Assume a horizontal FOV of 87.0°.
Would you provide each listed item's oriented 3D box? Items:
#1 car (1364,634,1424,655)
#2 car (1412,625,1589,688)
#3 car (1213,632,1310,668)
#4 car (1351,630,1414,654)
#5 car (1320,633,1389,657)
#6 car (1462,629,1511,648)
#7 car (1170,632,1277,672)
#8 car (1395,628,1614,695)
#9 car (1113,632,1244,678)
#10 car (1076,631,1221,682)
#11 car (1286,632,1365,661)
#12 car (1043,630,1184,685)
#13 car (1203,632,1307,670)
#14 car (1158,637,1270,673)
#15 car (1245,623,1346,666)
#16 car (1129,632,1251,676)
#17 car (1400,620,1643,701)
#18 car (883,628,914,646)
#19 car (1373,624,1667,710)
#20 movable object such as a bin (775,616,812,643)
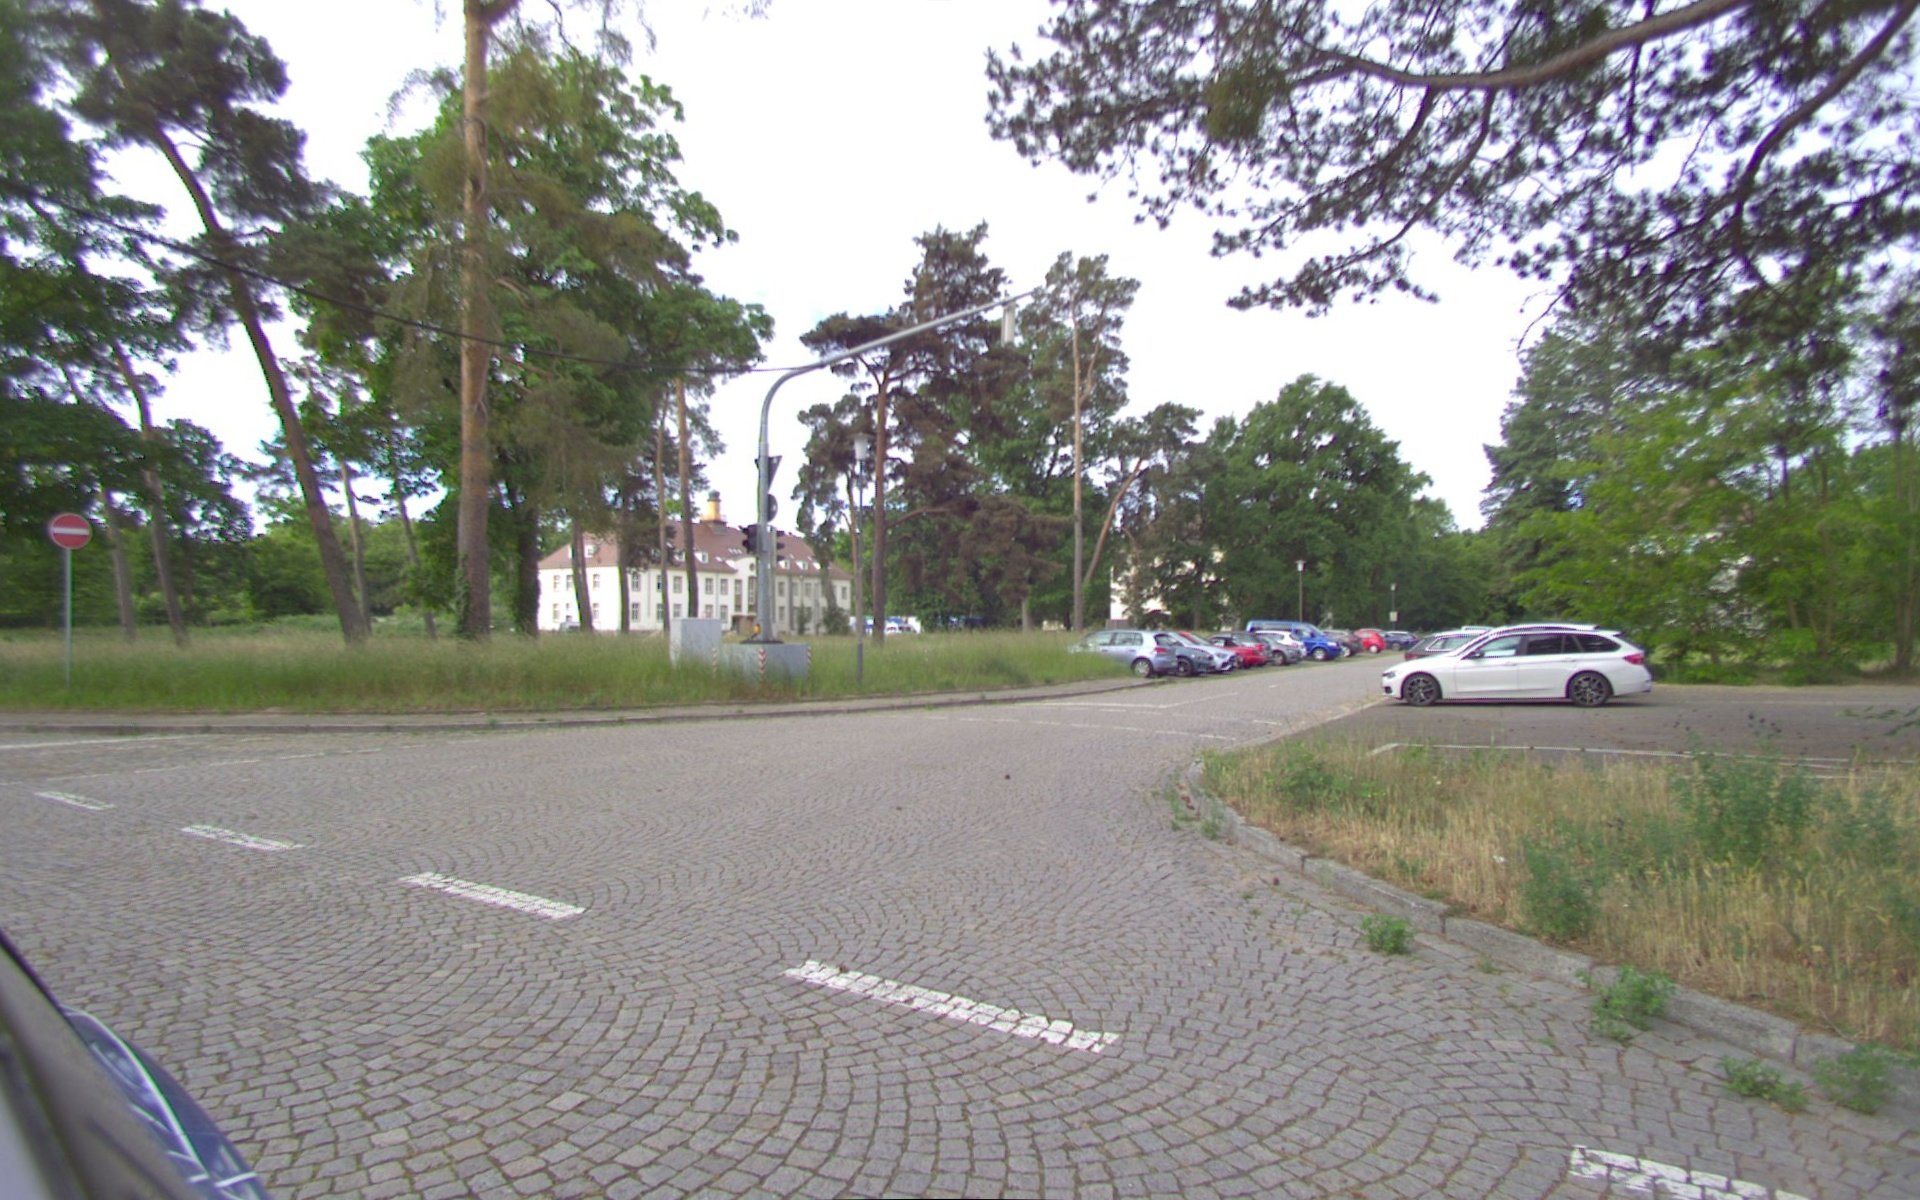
[{"bbox_3d":[34.585,3.526,80.624,4.093,1.545,1.704,0,-2,39],"label":"car"},{"bbox_3d":[14.174,1.505,26.690,3.945,1.481,1.569,-4,-3,29],"label":"car"},{"bbox_3d":[14.032,2.294,47.219,4.044,1.528,1.581,0,-2,35],"label":"car"},{"bbox_3d":[32.026,3.201,76.764,4.083,1.708,1.704,0,-2,39],"label":"car"},{"bbox_3d":[26.534,3.014,68.127,4.076,1.455,1.706,0,-2,34],"label":"car"},{"bbox_3d":[62.383,4.580,119.989,5.130,2.165,1.757,0,-2,29],"label":"car"},{"bbox_3d":[11.023,2.128,42.399,4.044,1.528,1.581,0,-2,35],"label":"car"},{"bbox_3d":[12.977,1.491,24.316,4.431,1.435,1.704,-4,-3,30],"label":"car"},{"bbox_3d":[7.732,1.909,35.903,4.240,1.485,1.697,0,-2,34],"label":"car"},{"bbox_3d":[6.242,1.832,33.635,4.426,1.394,1.646,2,-1,31],"label":"car"},{"bbox_3d":[21.417,2.698,59.296,4.077,1.605,1.635,0,-2,35],"label":"car"},{"bbox_3d":[4.758,1.734,31.500,3.999,1.439,1.680,2,-1,31],"label":"car"},{"bbox_3d":[12.948,2.201,44.486,4.091,1.528,1.680,0,-2,35],"label":"car"},{"bbox_3d":[9.993,2.148,39.925,4.041,1.250,1.532,0,-2,33],"label":"car"},{"bbox_3d":[17.101,2.223,51.623,4.593,2.021,1.890,0,-1,34],"label":"car"},{"bbox_3d":[8.656,1.990,38.217,4.174,1.493,1.698,0,-2,33],"label":"car"},{"bbox_3d":[11.954,1.318,21.876,4.354,1.610,1.856,-3,-3,26],"label":"car"},{"bbox_3d":[-8.063,4.875,133.471,1.857,2.382,4.399,-2,-2,31],"label":"car"},{"bbox_3d":[10.711,1.322,19.673,4.735,1.499,1.848,-3,-4,30],"label":"car"},{"bbox_3d":[-24.043,4.246,146.189,5.452,3.799,2.028,-2,-2,36],"label":"movable object such as a bin"}]
